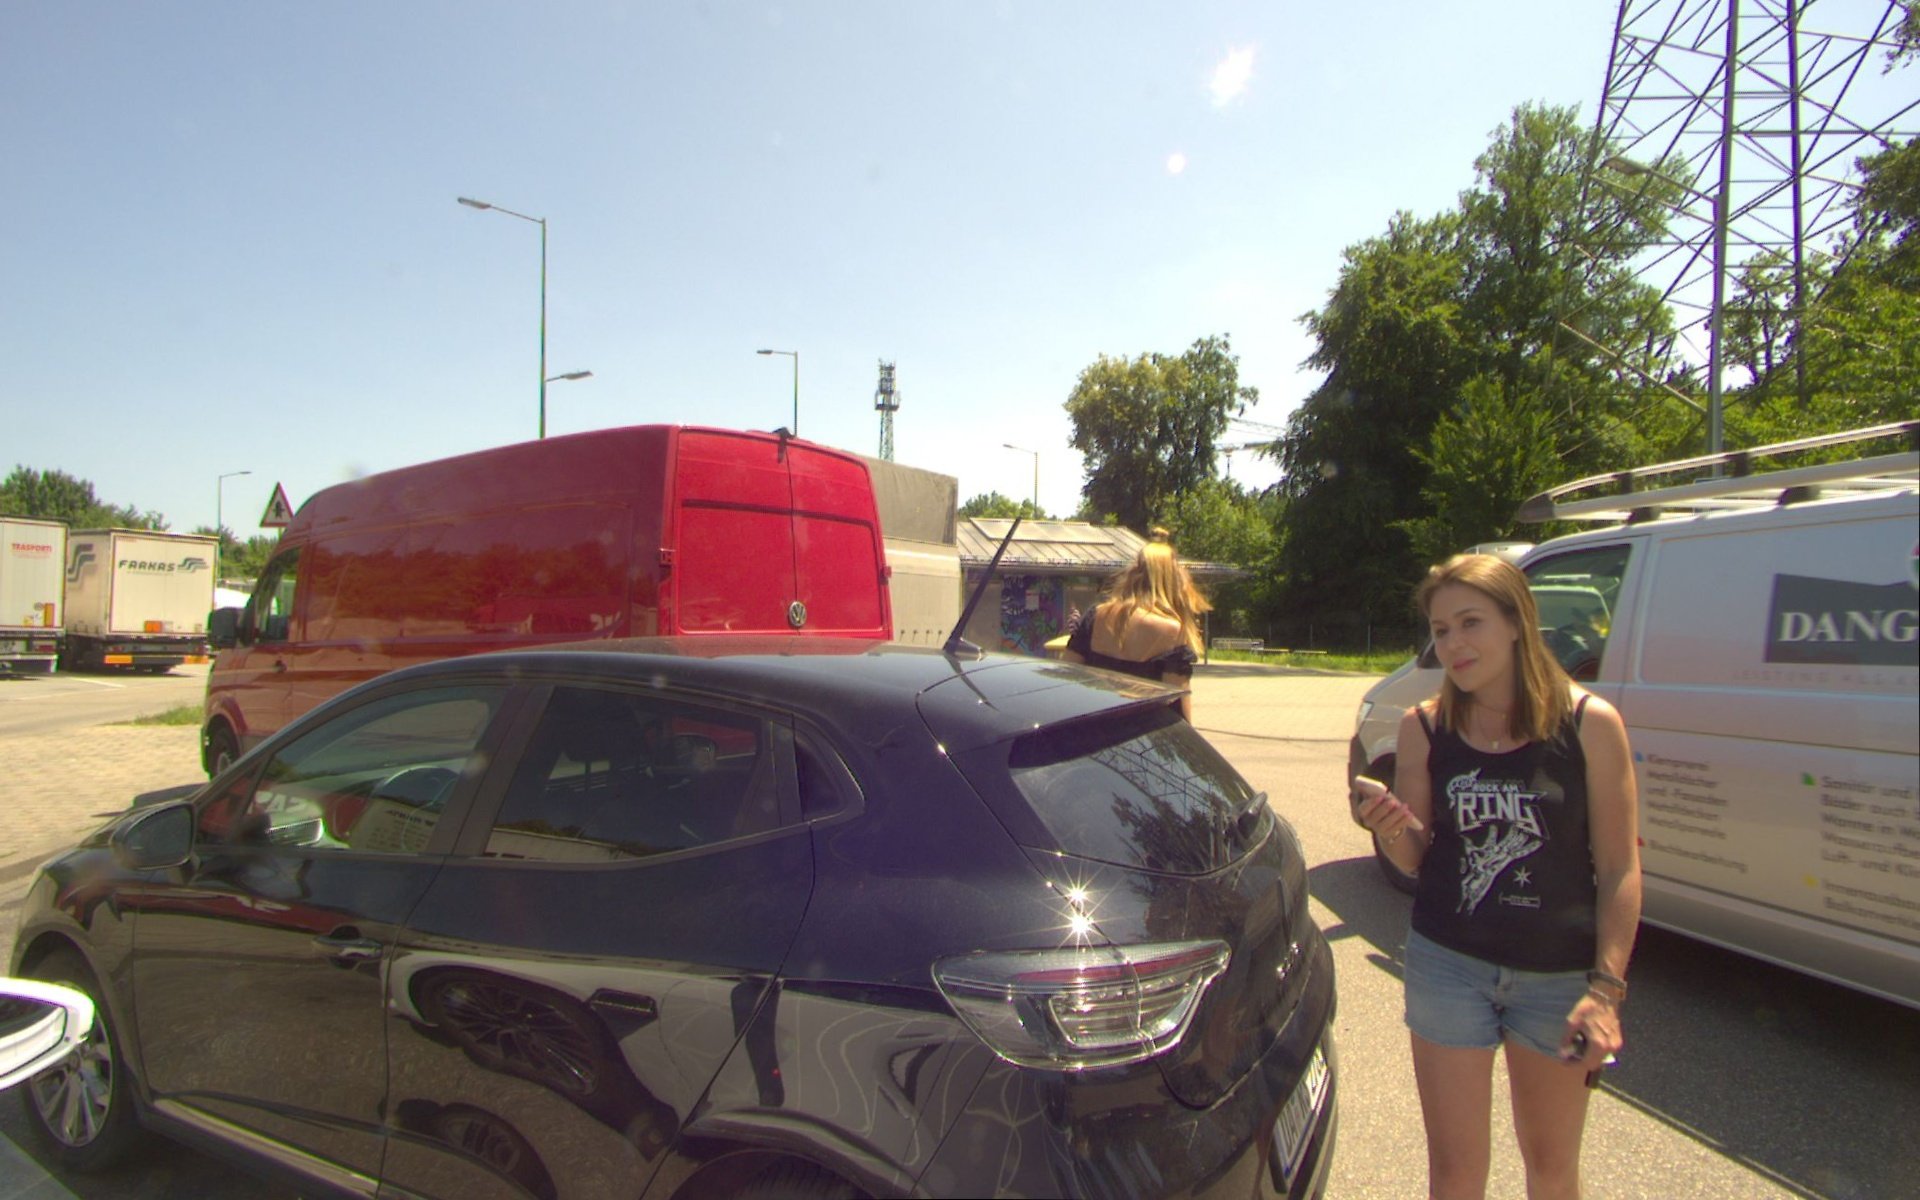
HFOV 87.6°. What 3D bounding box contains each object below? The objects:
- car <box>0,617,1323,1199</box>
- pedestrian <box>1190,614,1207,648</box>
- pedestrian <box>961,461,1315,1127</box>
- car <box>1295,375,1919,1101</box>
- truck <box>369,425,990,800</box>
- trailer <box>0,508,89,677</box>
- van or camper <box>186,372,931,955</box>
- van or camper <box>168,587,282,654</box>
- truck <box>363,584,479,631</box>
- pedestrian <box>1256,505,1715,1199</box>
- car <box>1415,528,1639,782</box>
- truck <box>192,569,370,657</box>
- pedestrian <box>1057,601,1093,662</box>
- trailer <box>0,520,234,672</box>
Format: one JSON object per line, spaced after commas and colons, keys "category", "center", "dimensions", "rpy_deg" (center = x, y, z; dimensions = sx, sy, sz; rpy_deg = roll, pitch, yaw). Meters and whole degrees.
{"category": "car", "center": [-1.038, 0.829, 2.821], "dimensions": [3.706, 1.503, 1.615], "rpy_deg": [0, -1, 27]}
{"category": "pedestrian", "center": [10.950, 1.417, 45.951], "dimensions": [0.577, 1.536, 0.592], "rpy_deg": [1, 0, -9]}
{"category": "pedestrian", "center": [0.604, 0.564, 3.449], "dimensions": [0.766, 1.896, 0.908], "rpy_deg": [1, -1, -43]}
{"category": "car", "center": [3.672, 0.437, 3.942], "dimensions": [1.963, 2.178, 5.307], "rpy_deg": [1, -1, -13]}
{"category": "truck", "center": [-3.239, 0.126, 10.535], "dimensions": [6.874, 2.828, 2.460], "rpy_deg": [0, -1, 35]}
{"category": "trailer", "center": [-28.331, -0.332, 27.777], "dimensions": [12.255, 4.090, 2.862], "rpy_deg": [2, -1, 33]}
{"category": "van or camper", "center": [-3.344, 0.318, 7.329], "dimensions": [6.394, 2.688, 1.990], "rpy_deg": [0, -1, 36]}
{"category": "van or camper", "center": [-30.387, 0.816, 41.364], "dimensions": [5.296, 2.595, 2.100], "rpy_deg": [0, -1, 34]}
{"category": "truck", "center": [-34.695, 0.458, 64.257], "dimensions": [9.637, 2.857, 2.121], "rpy_deg": [0, -1, 33]}
{"category": "pedestrian", "center": [0.975, 0.675, 1.888], "dimensions": [0.645, 1.606, 0.645], "rpy_deg": [1, 0, 32]}
{"category": "car", "center": [6.562, 0.557, 11.534], "dimensions": [1.892, 2.354, 4.074], "rpy_deg": [-1, -1, 32]}
{"category": "truck", "center": [-31.668, 0.501, 46.454], "dimensions": [11.255, 3.615, 2.483], "rpy_deg": [2, -1, 33]}
{"category": "pedestrian", "center": [3.139, 0.863, 27.341], "dimensions": [0.751, 1.629, 0.755], "rpy_deg": [1, 0, -12]}
{"category": "trailer", "center": [-27.270, -0.203, 31.442], "dimensions": [12.255, 4.090, 2.862], "rpy_deg": [2, -1, 33]}
